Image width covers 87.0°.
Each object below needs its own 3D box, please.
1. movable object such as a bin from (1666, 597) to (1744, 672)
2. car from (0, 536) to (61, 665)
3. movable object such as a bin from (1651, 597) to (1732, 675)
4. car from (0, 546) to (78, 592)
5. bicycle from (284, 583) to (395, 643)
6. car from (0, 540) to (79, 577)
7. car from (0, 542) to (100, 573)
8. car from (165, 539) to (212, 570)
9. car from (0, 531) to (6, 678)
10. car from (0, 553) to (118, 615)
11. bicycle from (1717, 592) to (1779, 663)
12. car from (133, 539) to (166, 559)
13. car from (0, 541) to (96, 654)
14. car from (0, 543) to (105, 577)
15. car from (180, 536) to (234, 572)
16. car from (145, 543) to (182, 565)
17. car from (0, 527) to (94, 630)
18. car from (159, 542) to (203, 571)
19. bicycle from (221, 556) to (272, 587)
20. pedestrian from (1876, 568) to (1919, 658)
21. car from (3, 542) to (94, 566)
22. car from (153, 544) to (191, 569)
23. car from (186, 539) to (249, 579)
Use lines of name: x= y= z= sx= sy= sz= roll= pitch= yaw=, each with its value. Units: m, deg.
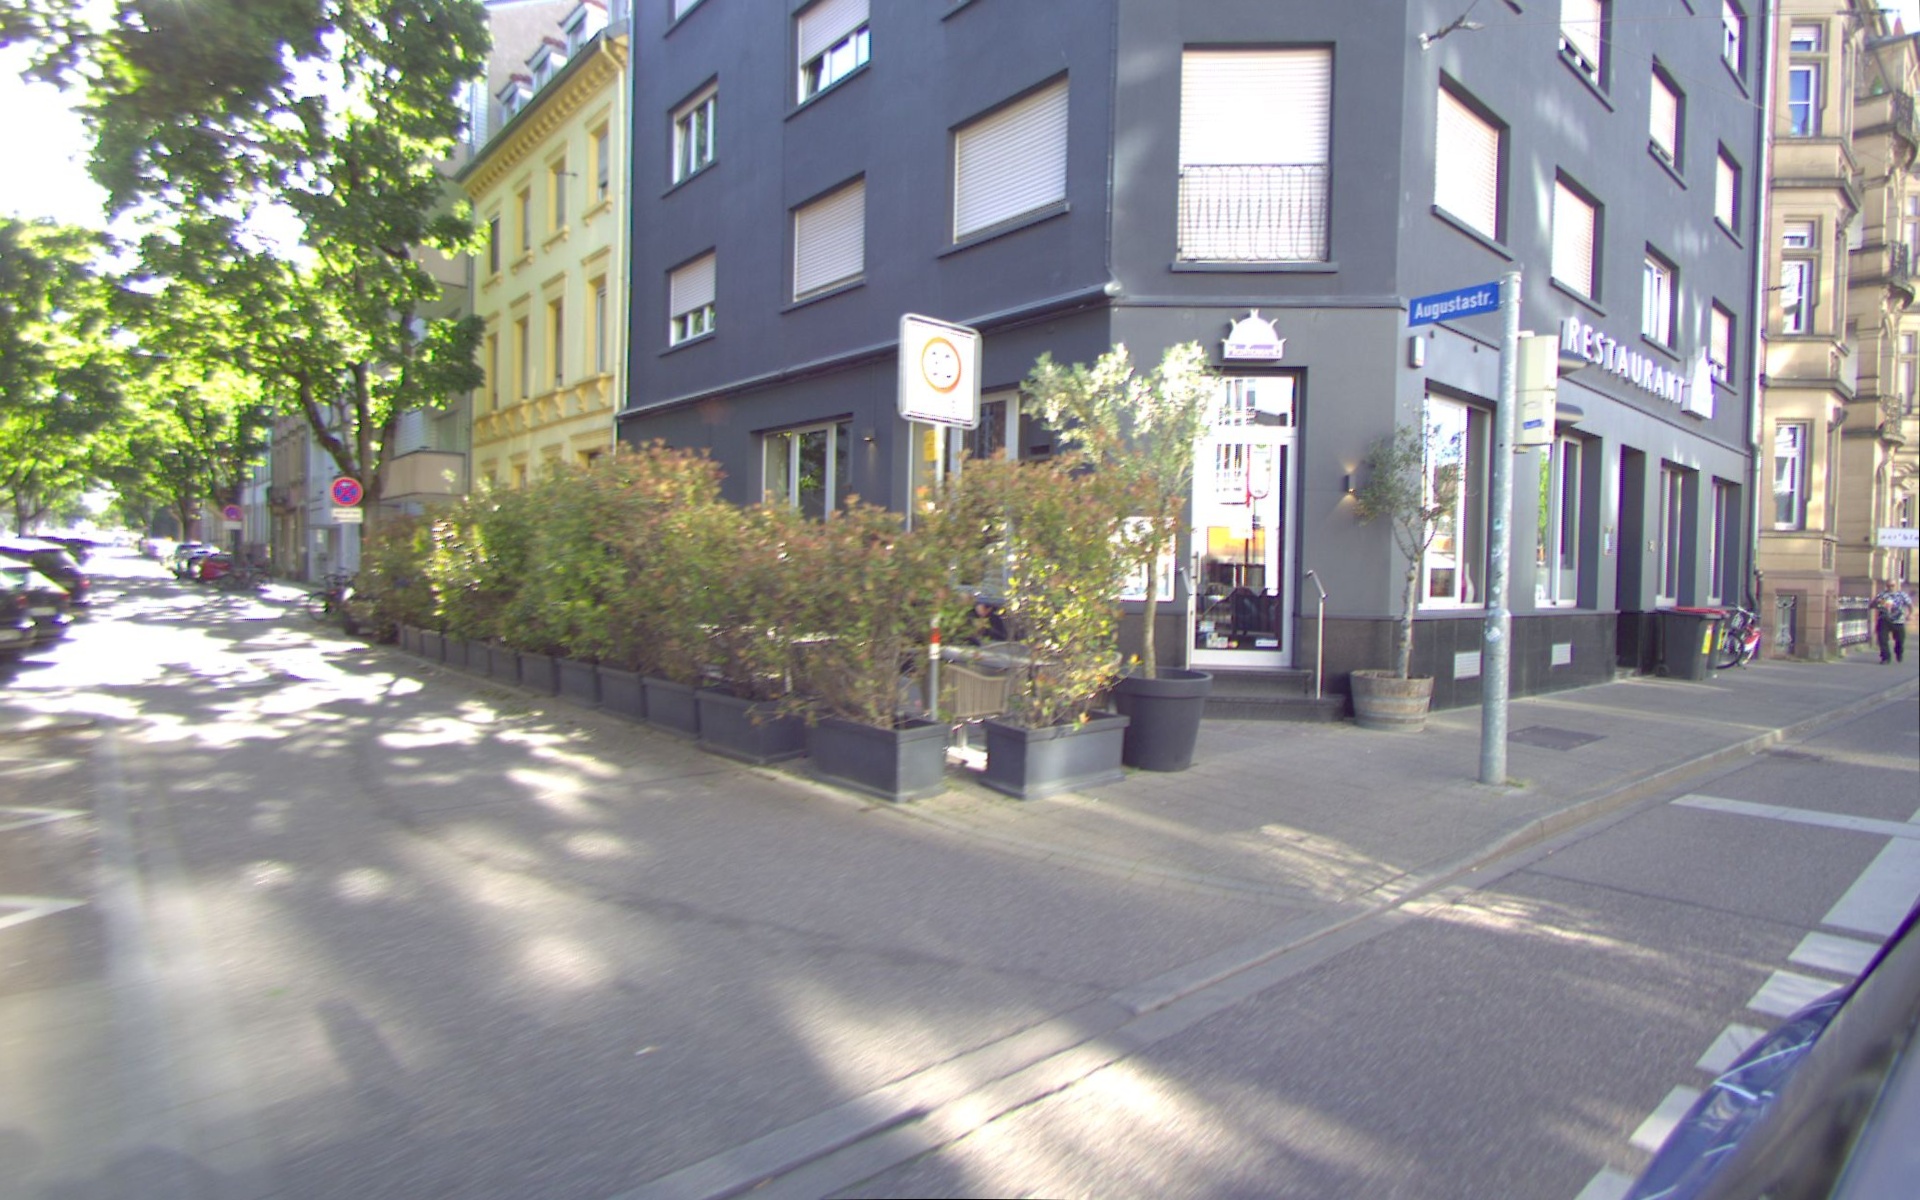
movable object such as a bin: x=11.547 y=0.520 z=15.689 sx=0.740 sy=1.048 sz=0.750 roll=0 pitch=6 yaw=-40
car: x=-13.344 y=0.032 z=11.922 sx=3.734 sy=1.529 sz=1.711 roll=-1 pitch=1 yaw=-13
movable object such as a bin: x=10.983 y=0.519 z=15.198 sx=0.740 sy=1.048 sz=0.750 roll=0 pitch=6 yaw=-40
car: x=-29.864 y=-0.924 z=31.192 sx=3.734 sy=1.391 sz=1.506 roll=-1 pitch=1 yaw=-13
bicycle: x=-10.138 y=0.205 z=16.587 sx=1.500 sy=0.932 sz=0.347 roll=-2 pitch=1 yaw=-24
car: x=-37.134 y=-1.602 z=39.620 sx=3.734 sy=1.391 sz=1.506 roll=-1 pitch=1 yaw=-13
car: x=-42.487 y=-1.976 z=46.906 sx=3.734 sy=1.391 sz=1.506 roll=-1 pitch=1 yaw=-13
car: x=-46.729 y=-2.738 z=61.295 sx=1.966 sy=1.794 sz=3.993 roll=-2 pitch=2 yaw=-41
car: x=-11.639 y=0.094 z=9.359 sx=3.734 sy=1.529 sz=1.711 roll=-1 pitch=1 yaw=-13
car: x=-22.076 y=-0.363 z=23.382 sx=3.734 sy=1.391 sz=1.506 roll=-1 pitch=1 yaw=-13
bicycle: x=13.692 y=0.449 z=17.577 sx=1.742 sy=1.136 sz=0.460 roll=-1 pitch=4 yaw=-41
car: x=-75.000 y=-4.676 z=93.651 sx=1.968 sy=1.794 sz=3.989 roll=-2 pitch=2 yaw=-44
car: x=-14.834 y=-0.023 z=14.204 sx=3.734 sy=1.529 sz=1.711 roll=-1 pitch=1 yaw=-13
car: x=-38.811 y=-1.685 z=42.834 sx=3.734 sy=1.391 sz=1.506 roll=-1 pitch=1 yaw=-13
car: x=-40.038 y=-2.419 z=53.784 sx=1.966 sy=1.794 sz=3.993 roll=-2 pitch=2 yaw=-41
car: x=-66.797 y=-3.834 z=84.833 sx=3.988 sy=1.794 sz=1.968 roll=1 pitch=2 yaw=45
car: x=-18.200 y=-0.377 z=18.533 sx=3.270 sy=1.843 sz=1.390 roll=-1 pitch=1 yaw=-13
car: x=-51.506 y=-2.862 z=66.887 sx=1.967 sy=1.794 sz=3.991 roll=-2 pitch=2 yaw=-43
bicycle: x=-27.720 y=-1.098 z=39.324 sx=1.499 sy=1.082 sz=0.347 roll=4 pitch=-2 yaw=-24
pedestrian: x=19.153 y=0.257 z=20.483 sx=1.075 sy=1.772 sz=0.780 roll=2 pitch=0 yaw=-44
car: x=-54.306 y=-2.738 z=60.354 sx=3.734 sy=1.391 sz=1.506 roll=-1 pitch=1 yaw=-13
car: x=-58.810 y=-3.252 z=75.499 sx=1.966 sy=1.794 sz=3.992 roll=-2 pitch=2 yaw=-42
car: x=-34.923 y=-1.902 z=47.568 sx=1.966 sy=1.794 sz=3.992 roll=-2 pitch=2 yaw=-42
